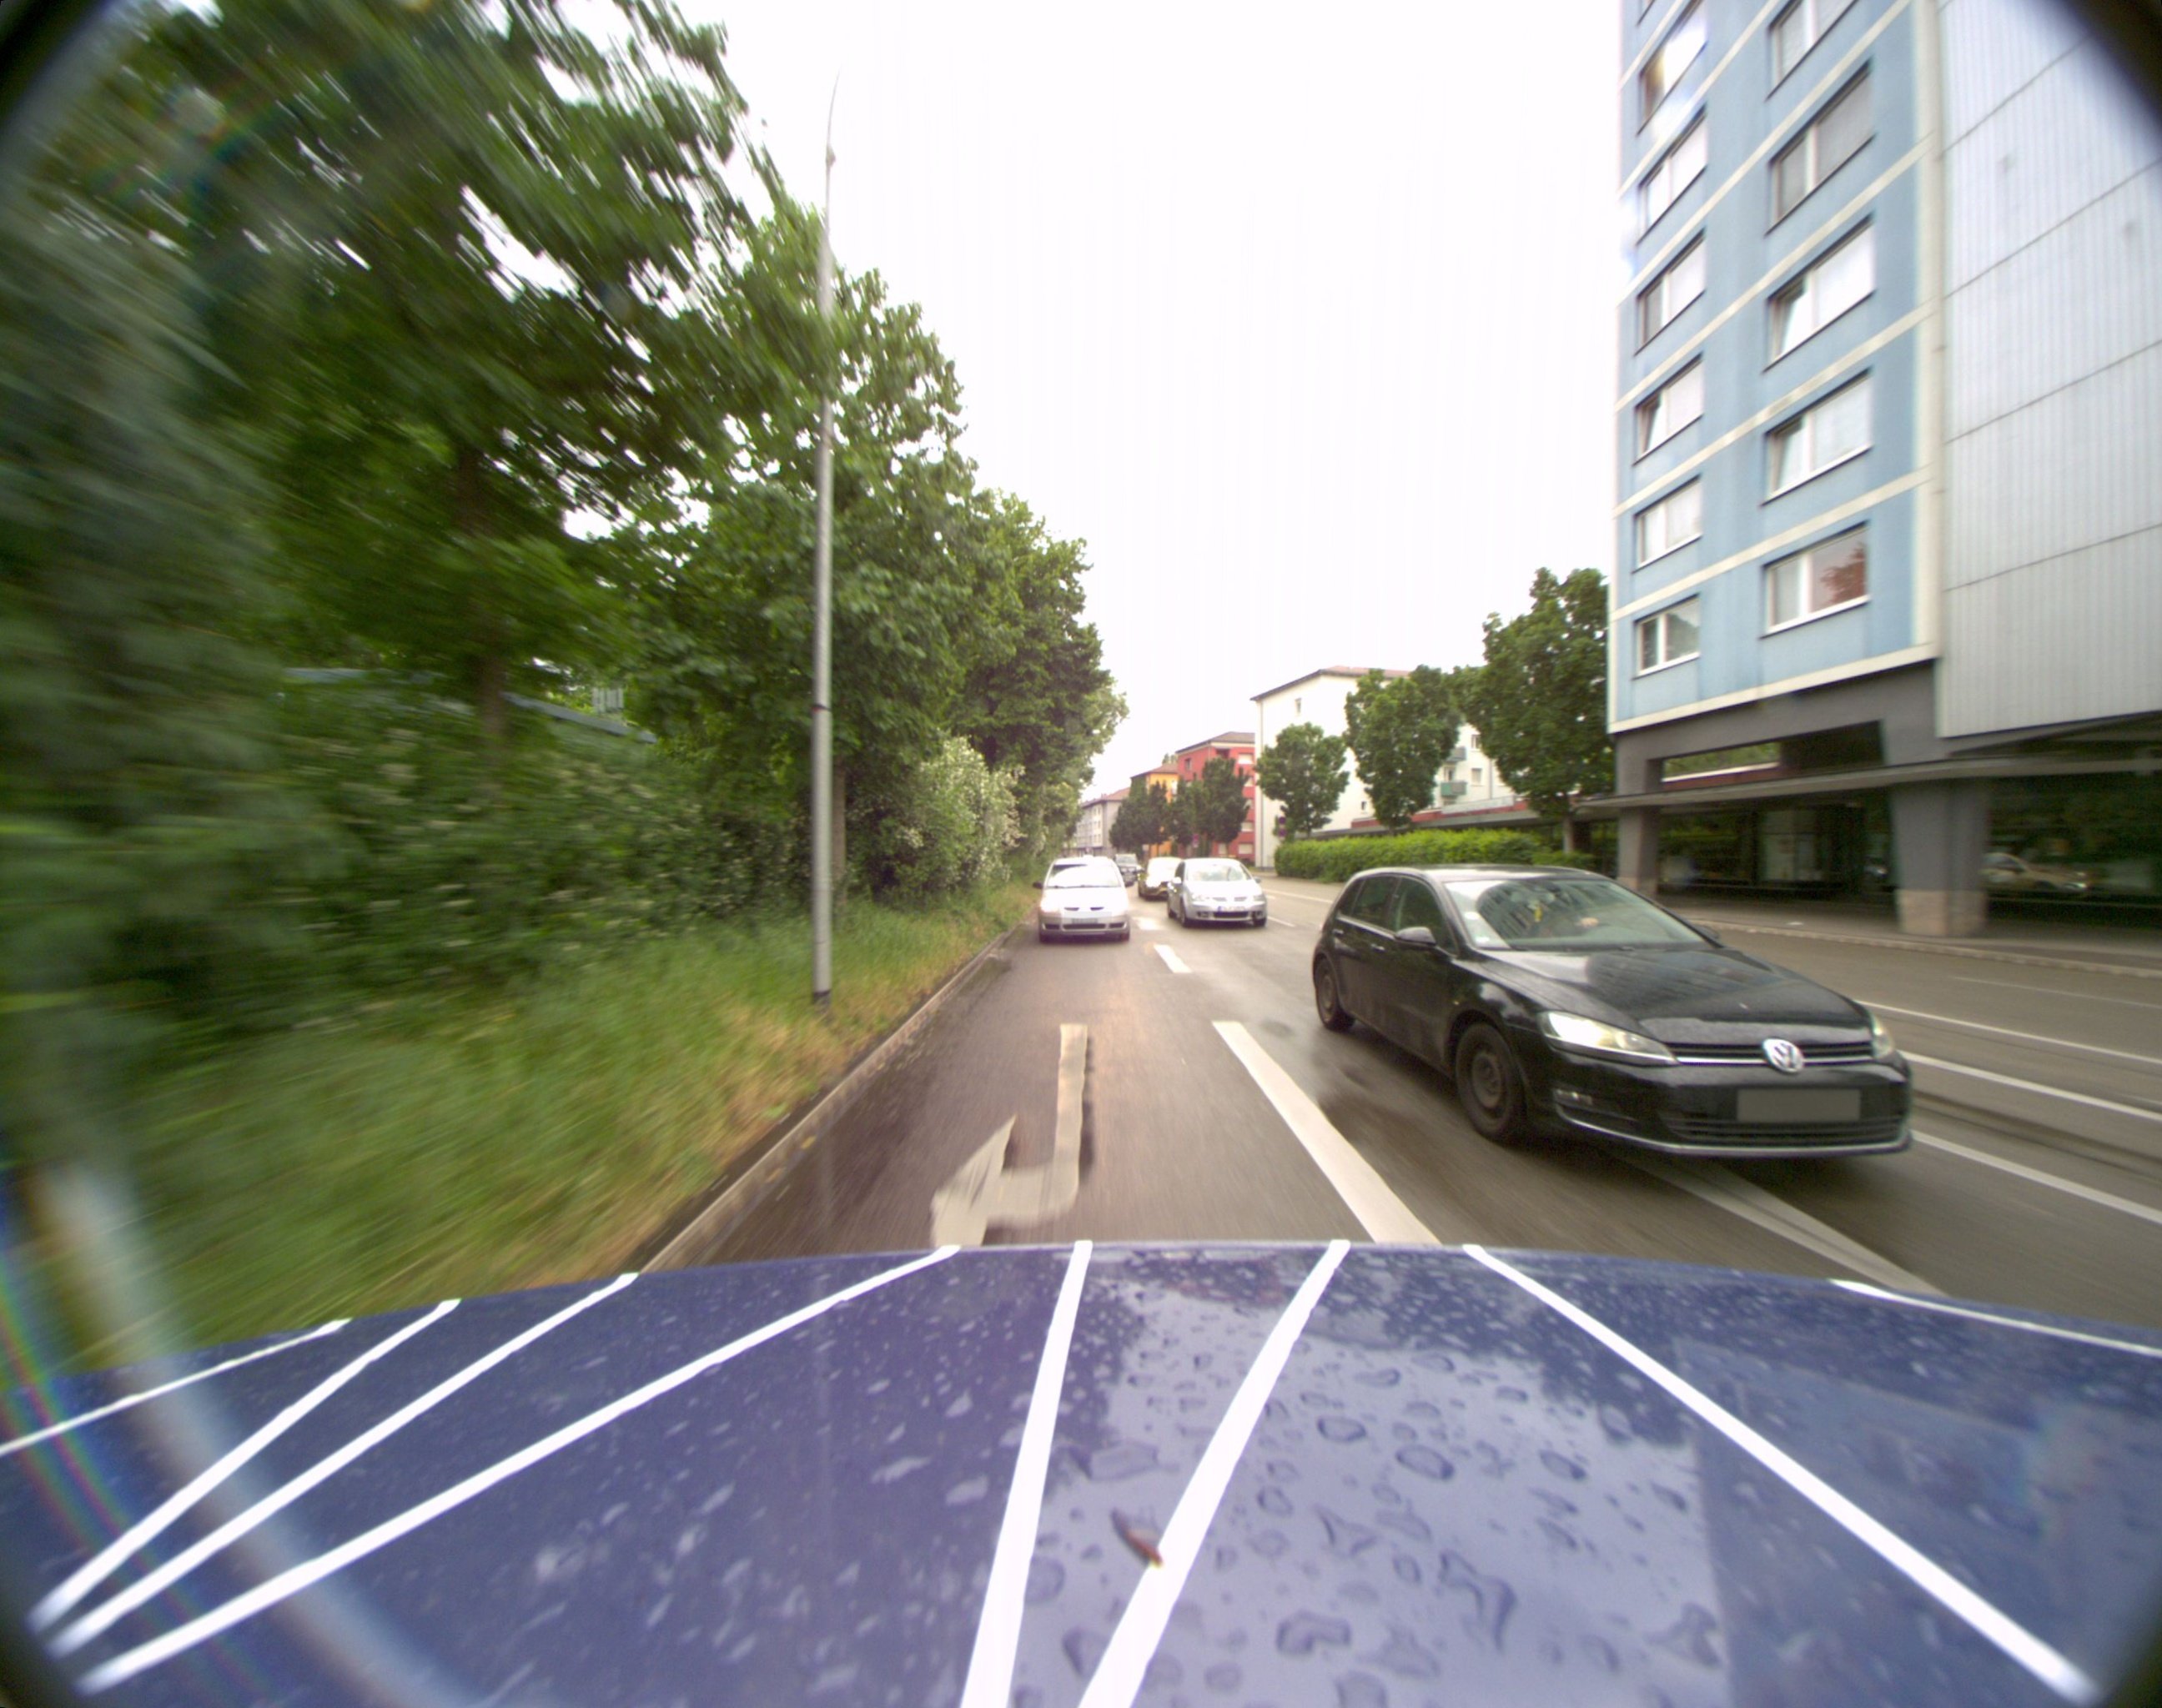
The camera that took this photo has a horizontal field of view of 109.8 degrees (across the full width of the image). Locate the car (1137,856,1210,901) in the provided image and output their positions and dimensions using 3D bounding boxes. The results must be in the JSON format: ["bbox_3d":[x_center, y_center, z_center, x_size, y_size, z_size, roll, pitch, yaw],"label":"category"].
[{"bbox_3d":[3.182,0.795,27.102,2.071,1.455,4.586,0,0,0],"label":"car"}]

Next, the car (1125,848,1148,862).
[{"bbox_3d":[7.318,0.112,100.599,2.000,1.739,4.803,0,0,-8],"label":"car"}]

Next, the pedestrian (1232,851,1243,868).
[{"bbox_3d":[14.710,0.517,71.303,0.694,1.508,1.068,0,0,-9],"label":"pedestrian"}]

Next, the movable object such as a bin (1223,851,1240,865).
[{"bbox_3d":[16.326,0.459,82.600,1.219,1.476,2.086,0,0,-6],"label":"movable object such as a bin"}]

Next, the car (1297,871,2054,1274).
[{"bbox_3d":[2.863,0.892,4.934,1.760,1.444,4.000,1,0,0],"label":"car"}]

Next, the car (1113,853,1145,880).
[{"bbox_3d":[2.988,0.778,47.986,1.735,1.590,3.999,-1,1,0],"label":"car"}]

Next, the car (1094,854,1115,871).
[{"bbox_3d":[2.700,1.025,88.722,1.999,1.815,3.998,-2,1,-4],"label":"car"}]

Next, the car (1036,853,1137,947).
[{"bbox_3d":[0.076,0.834,15.788,1.755,1.587,4.168,-3,1,-1],"label":"car"}]

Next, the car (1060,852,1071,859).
[{"bbox_3d":[-3.807,0.344,190.064,1.907,1.859,4.310,-1,1,-12],"label":"car"}]

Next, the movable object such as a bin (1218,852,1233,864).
[{"bbox_3d":[16.082,0.408,84.763,1.161,1.323,1.965,0,0,-6],"label":"movable object such as a bin"}]

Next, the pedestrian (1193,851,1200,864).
[{"bbox_3d":[13.649,0.404,89.821,0.673,1.441,0.835,0,0,-9],"label":"pedestrian"}]

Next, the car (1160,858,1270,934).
[{"bbox_3d":[2.898,0.843,17.289,1.748,1.478,4.161,0,0,0],"label":"car"}]

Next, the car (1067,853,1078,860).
[{"bbox_3d":[-1.934,0.625,176.737,1.728,1.472,4.310,2,0,-12],"label":"car"}]

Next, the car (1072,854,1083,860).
[{"bbox_3d":[-0.782,0.657,170.838,1.728,1.472,4.310,2,0,-12],"label":"car"}]
